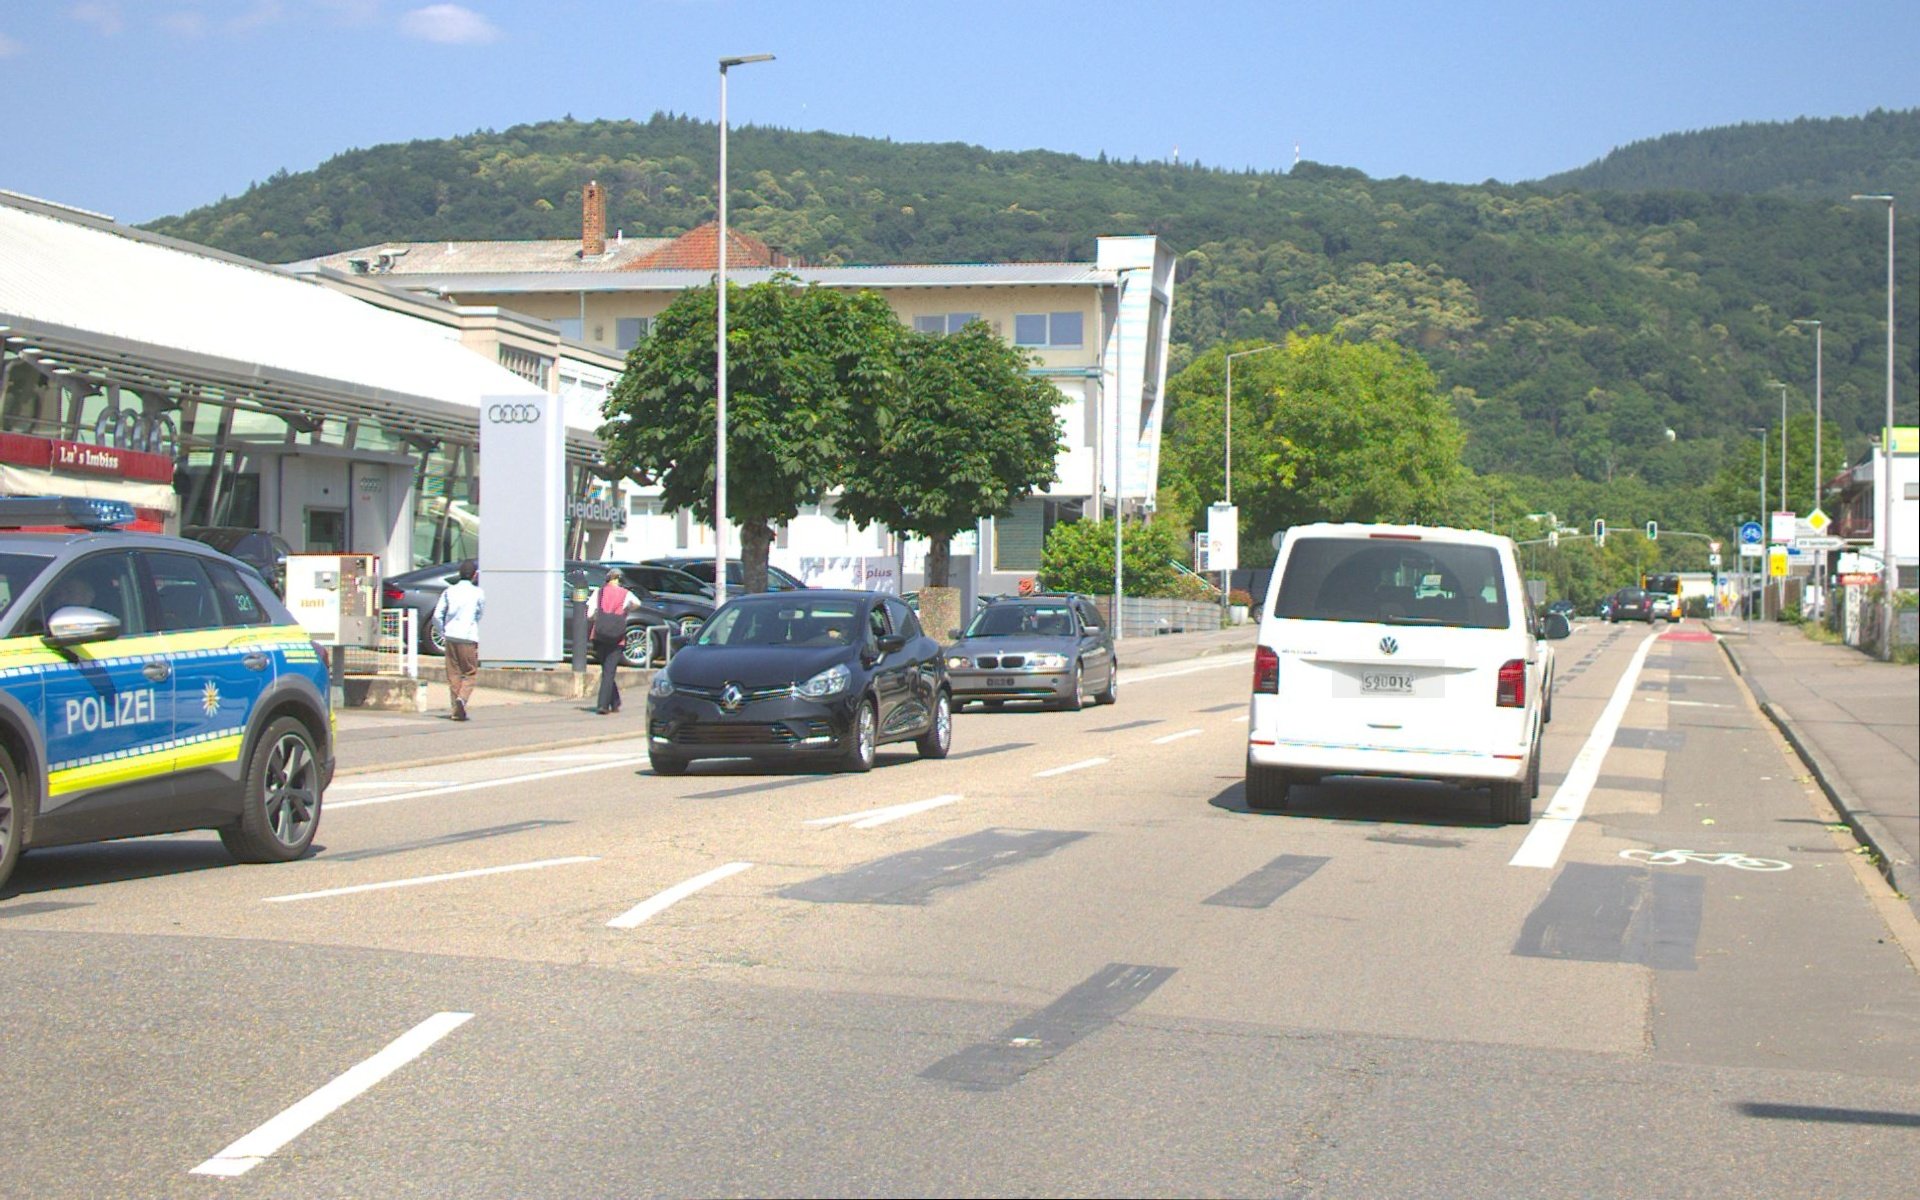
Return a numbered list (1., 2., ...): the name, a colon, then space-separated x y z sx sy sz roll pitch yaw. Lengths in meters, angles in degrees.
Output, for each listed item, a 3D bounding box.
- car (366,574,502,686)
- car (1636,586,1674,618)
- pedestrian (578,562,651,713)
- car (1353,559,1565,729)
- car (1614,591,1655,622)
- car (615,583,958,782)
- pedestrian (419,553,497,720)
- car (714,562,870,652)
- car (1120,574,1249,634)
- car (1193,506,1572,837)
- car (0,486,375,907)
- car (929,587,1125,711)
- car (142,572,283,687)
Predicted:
1. car: -7.803 0.420 50.813 1.745 1.579 3.662 1 0 -12
2. car: 37.638 0.112 186.230 1.994 1.678 3.998 1 0 11
3. pedestrian: -4.134 0.446 41.145 0.759 1.782 0.927 1 0 0
4. car: 5.661 0.513 38.629 1.995 1.702 3.997 3 -1 12
5. car: 29.605 0.263 150.891 1.719 1.299 3.998 0 0 11
6. car: -1.310 0.604 27.685 1.842 1.459 3.998 0 0 11
7. pedestrian: -5.435 0.395 37.249 0.759 1.782 0.784 1 0 -4
8. car: -3.106 0.119 62.909 1.745 1.579 3.662 1 0 -21
9. car: 7.724 0.129 118.715 4.312 2.007 2.000 1 0 1
10. car: 3.139 0.431 24.544 2.163 2.007 5.015 3 1 12
11. car: -4.550 0.389 15.762 1.910 1.754 4.448 0 0 17
12. car: 0.890 0.571 43.018 1.842 1.459 3.998 0 0 10
13. car: -10.729 0.404 49.529 1.745 1.579 3.662 1 0 -9
